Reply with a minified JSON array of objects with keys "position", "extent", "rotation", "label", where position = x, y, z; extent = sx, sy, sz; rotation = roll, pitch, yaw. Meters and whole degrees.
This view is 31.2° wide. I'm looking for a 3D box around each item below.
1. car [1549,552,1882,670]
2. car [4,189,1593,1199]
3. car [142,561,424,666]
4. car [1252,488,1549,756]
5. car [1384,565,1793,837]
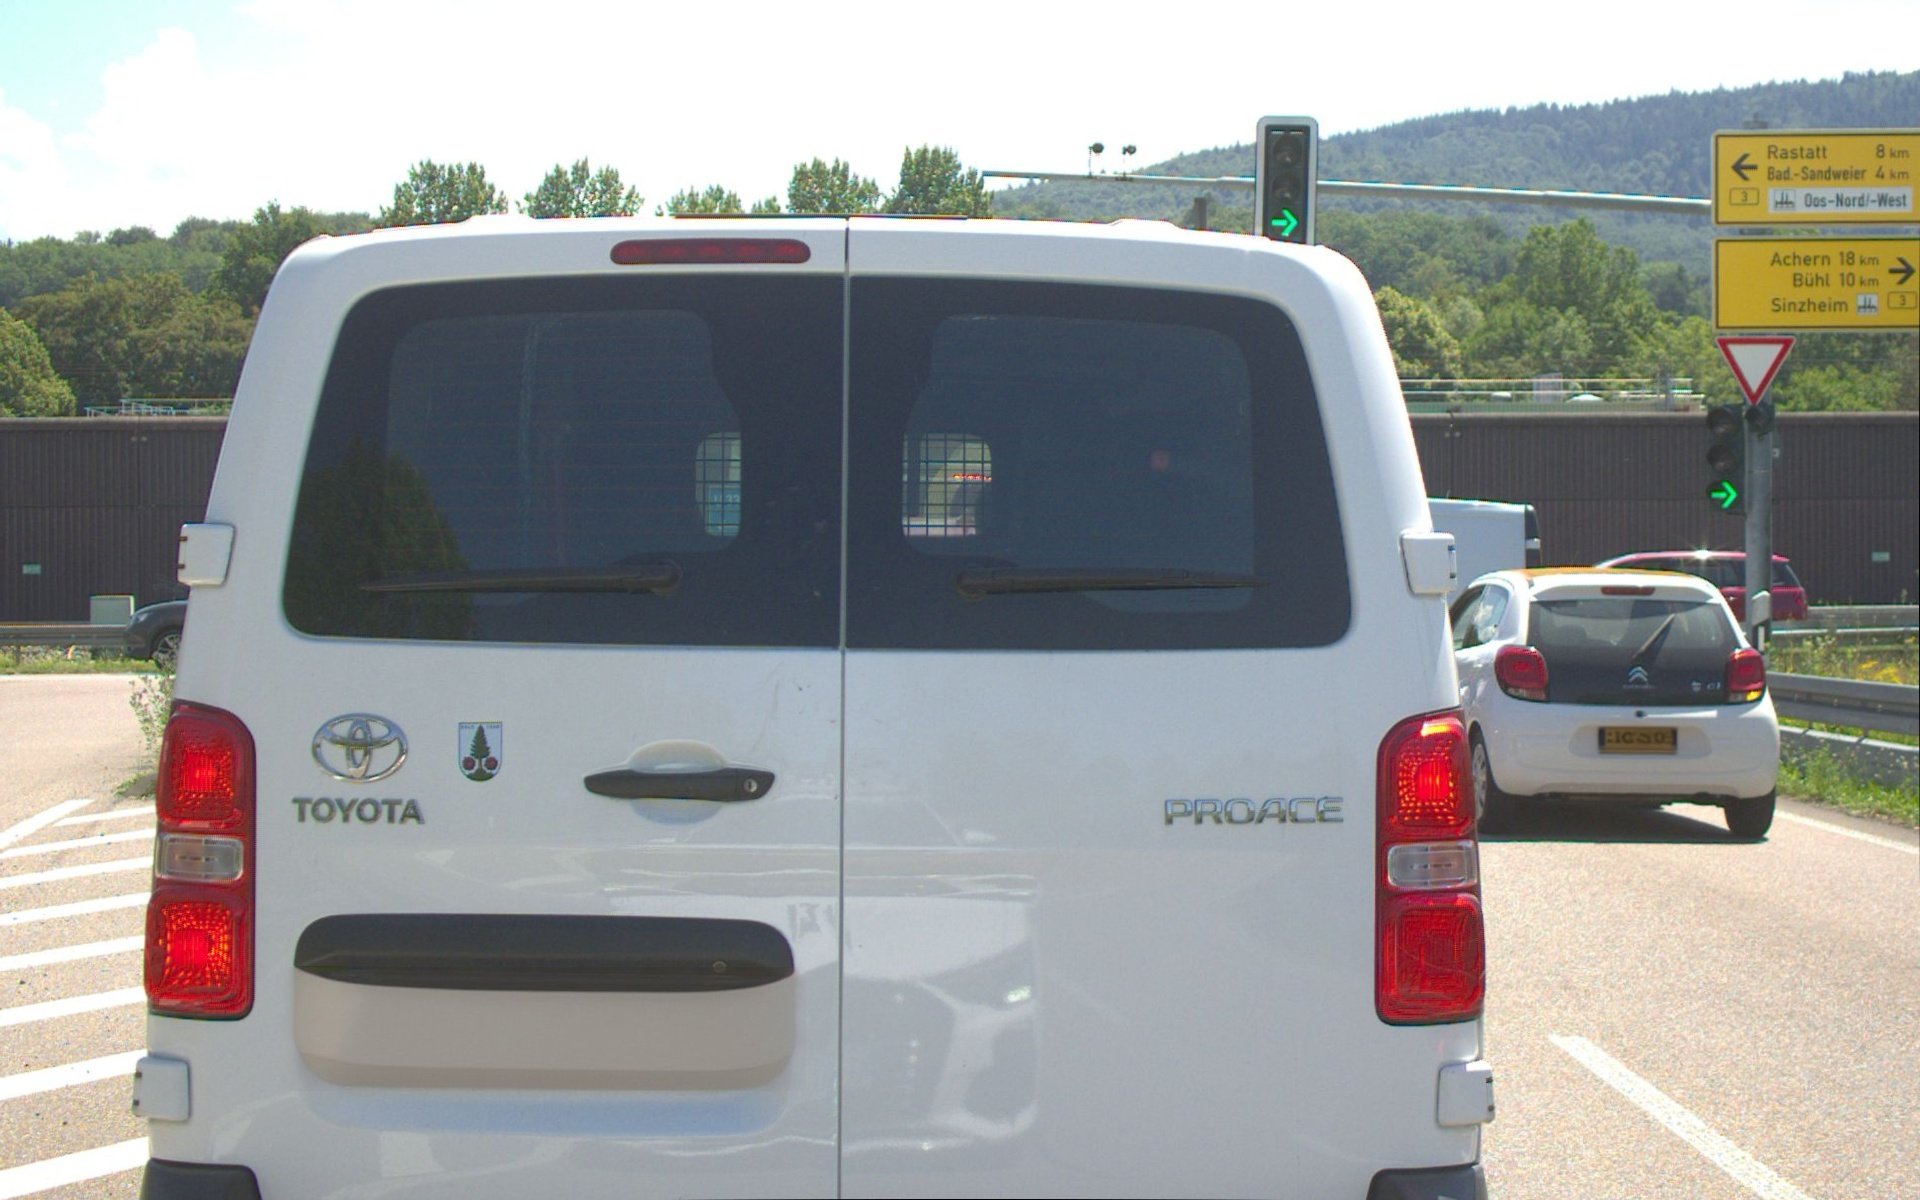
[{"position":[10.894,0.147,49.783],"extent":[4.309,1.651,2.000],"rotation":[0,1,-4],"label":"car"},{"position":[-0.235,0.440,6.116],"extent":[1.886,1.880,4.000],"rotation":[1,1,-1],"label":"car"},{"position":[-10.354,0.195,52.798],"extent":[3.986,1.550,2.000],"rotation":[1,1,-2],"label":"car"},{"position":[3.526,0.139,28.336],"extent":[1.928,1.993,4.837],"rotation":[1,1,2],"label":"car"},{"position":[3.539,0.518,19.903],"extent":[1.656,1.426,3.366],"rotation":[1,1,-1],"label":"car"}]
